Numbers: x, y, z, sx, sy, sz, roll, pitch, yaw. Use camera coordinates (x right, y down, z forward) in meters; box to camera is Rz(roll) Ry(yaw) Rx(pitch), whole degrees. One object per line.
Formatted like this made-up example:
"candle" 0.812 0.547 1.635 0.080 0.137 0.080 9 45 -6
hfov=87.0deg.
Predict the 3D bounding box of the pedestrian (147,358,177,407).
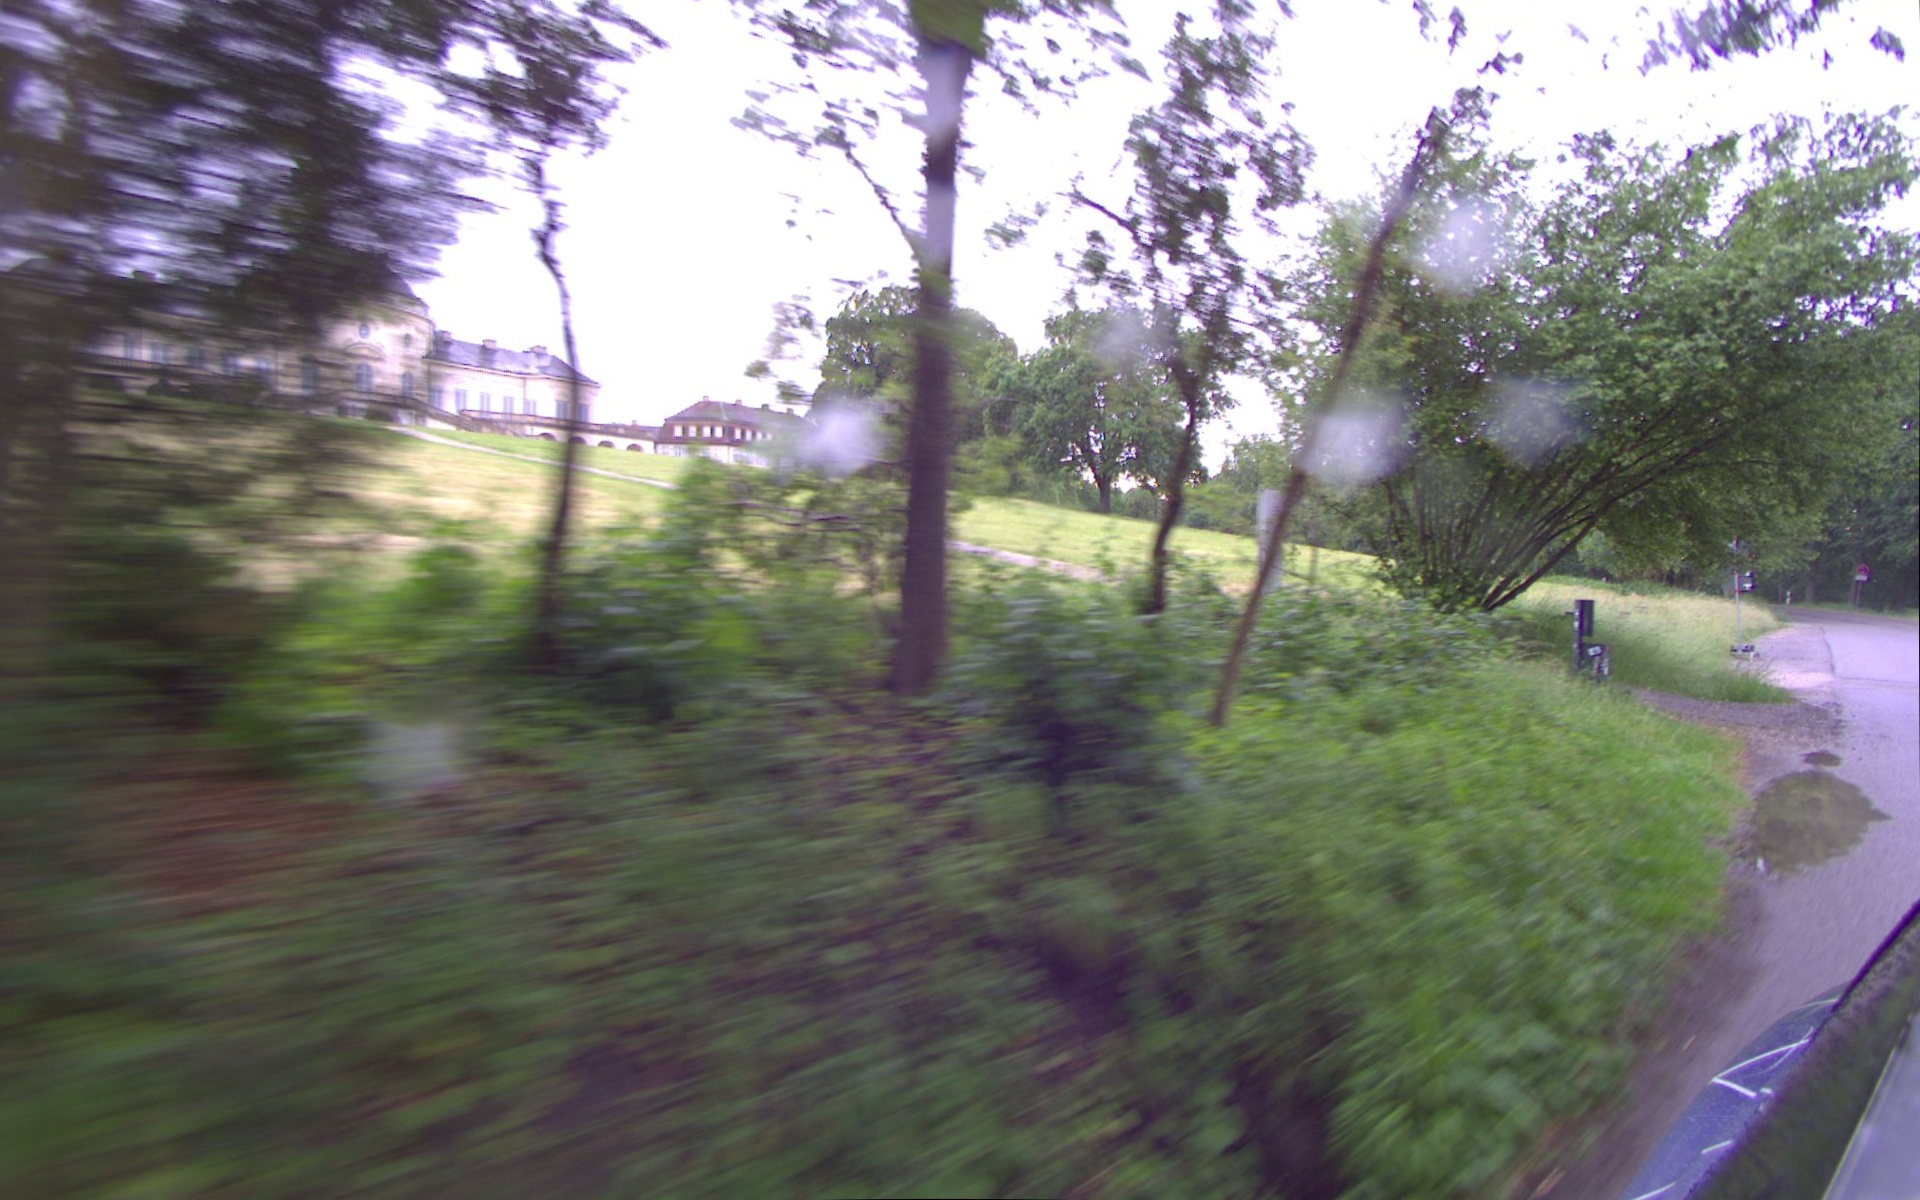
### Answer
"pedestrian" -33.006 -8.993 41.868 0.787 1.758 0.930 3 0 -30
